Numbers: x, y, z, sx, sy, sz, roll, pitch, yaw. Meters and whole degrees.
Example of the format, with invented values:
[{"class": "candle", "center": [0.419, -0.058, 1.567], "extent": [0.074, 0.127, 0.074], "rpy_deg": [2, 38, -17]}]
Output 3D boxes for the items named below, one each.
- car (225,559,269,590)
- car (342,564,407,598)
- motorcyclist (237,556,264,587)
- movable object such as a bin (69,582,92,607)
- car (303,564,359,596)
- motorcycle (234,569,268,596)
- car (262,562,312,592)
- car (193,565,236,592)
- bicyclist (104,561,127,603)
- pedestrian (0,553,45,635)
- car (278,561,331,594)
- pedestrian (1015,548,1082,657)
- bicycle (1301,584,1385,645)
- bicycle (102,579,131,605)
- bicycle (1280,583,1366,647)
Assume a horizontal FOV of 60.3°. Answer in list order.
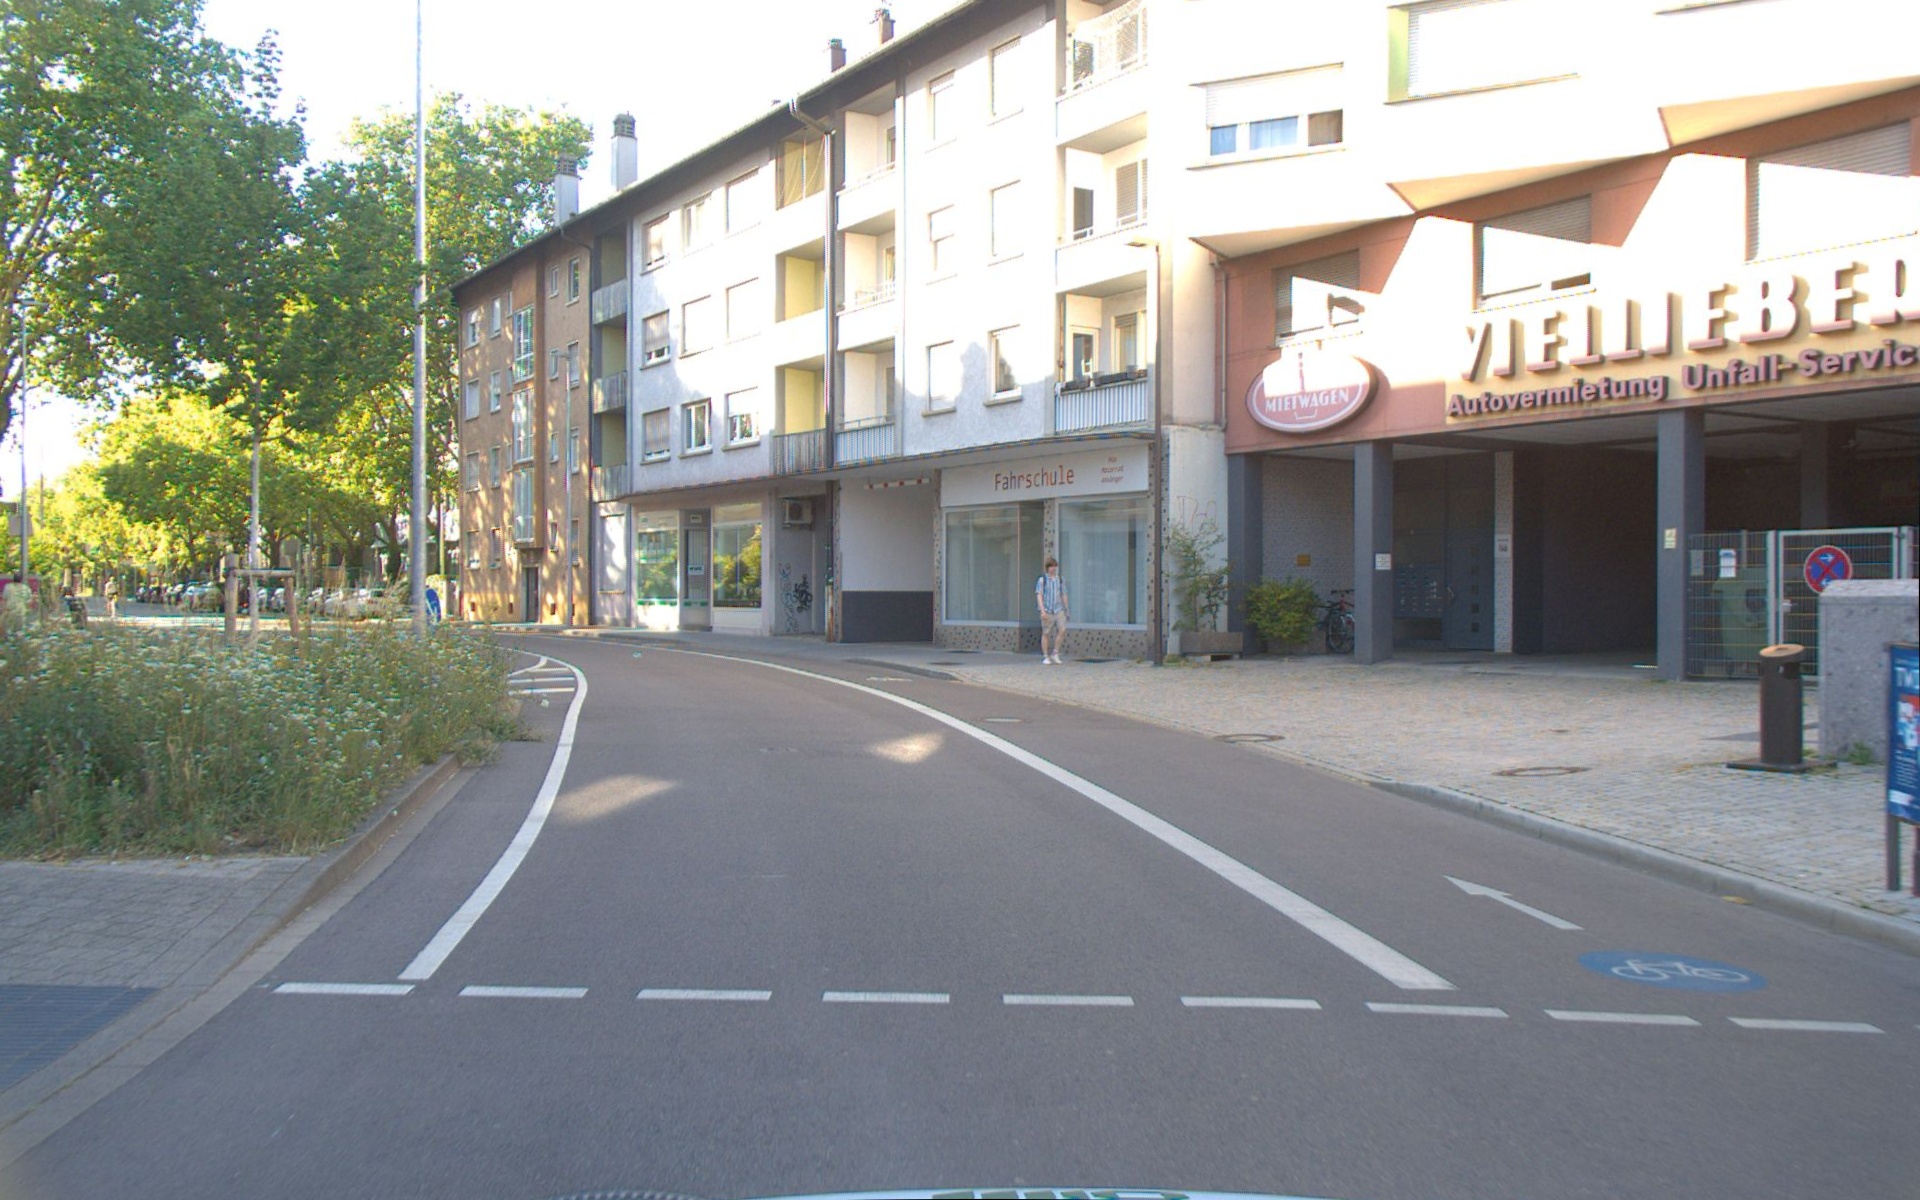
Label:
[{"class": "car", "center": [-46.860, -1.708, 108.640], "extent": [2.014, 1.967, 4.048], "rpy_deg": [-1, 2, -33]}, {"class": "car", "center": [-27.660, -0.910, 78.091], "extent": [2.014, 1.530, 4.047], "rpy_deg": [-1, 1, -33]}, {"class": "motorcyclist", "center": [-32.507, -1.318, 75.786], "extent": [0.962, 1.370, 1.124], "rpy_deg": [1, 1, -34]}, {"class": "movable object such as a bin", "center": [-31.480, -0.193, 59.203], "extent": [0.679, 0.867, 0.573], "rpy_deg": [2, 0, -33]}, {"class": "car", "center": [-33.373, -1.078, 87.657], "extent": [2.014, 1.645, 4.047], "rpy_deg": [-1, 1, -33]}, {"class": "motorcycle", "center": [-32.463, -0.820, 75.713], "extent": [0.964, 1.151, 2.773], "rpy_deg": [1, 1, -33]}, {"class": "car", "center": [-39.764, -1.395, 97.698], "extent": [2.014, 1.749, 4.047], "rpy_deg": [-1, 1, -33]}, {"class": "car", "center": [-40.891, -1.182, 90.664], "extent": [1.902, 1.413, 3.963], "rpy_deg": [0, 1, -28]}, {"class": "bicyclist", "center": [-39.287, -0.843, 76.953], "extent": [0.809, 1.981, 0.846], "rpy_deg": [-1, 1, -37]}, {"class": "pedestrian", "center": [-20.455, -0.136, 36.053], "extent": [0.799, 1.754, 0.766], "rpy_deg": [0, 1, -36]}, {"class": "car", "center": [-36.670, -1.281, 92.469], "extent": [2.014, 1.789, 4.047], "rpy_deg": [-1, 1, -33]}, {"class": "pedestrian", "center": [1.575, 0.041, 29.484], "extent": [0.725, 1.886, 0.937], "rpy_deg": [-3, 2, -33]}, {"class": "bicycle", "center": [6.981, 0.252, 30.211], "extent": [0.490, 1.056, 1.620], "rpy_deg": [0, 2, -32]}, {"class": "bicycle", "center": [-39.175, -0.389, 76.802], "extent": [0.809, 1.159, 2.308], "rpy_deg": [-1, 1, -37]}, {"class": "bicycle", "center": [6.443, 0.251, 29.457], "extent": [0.490, 1.056, 1.620], "rpy_deg": [0, 2, -32]}]
